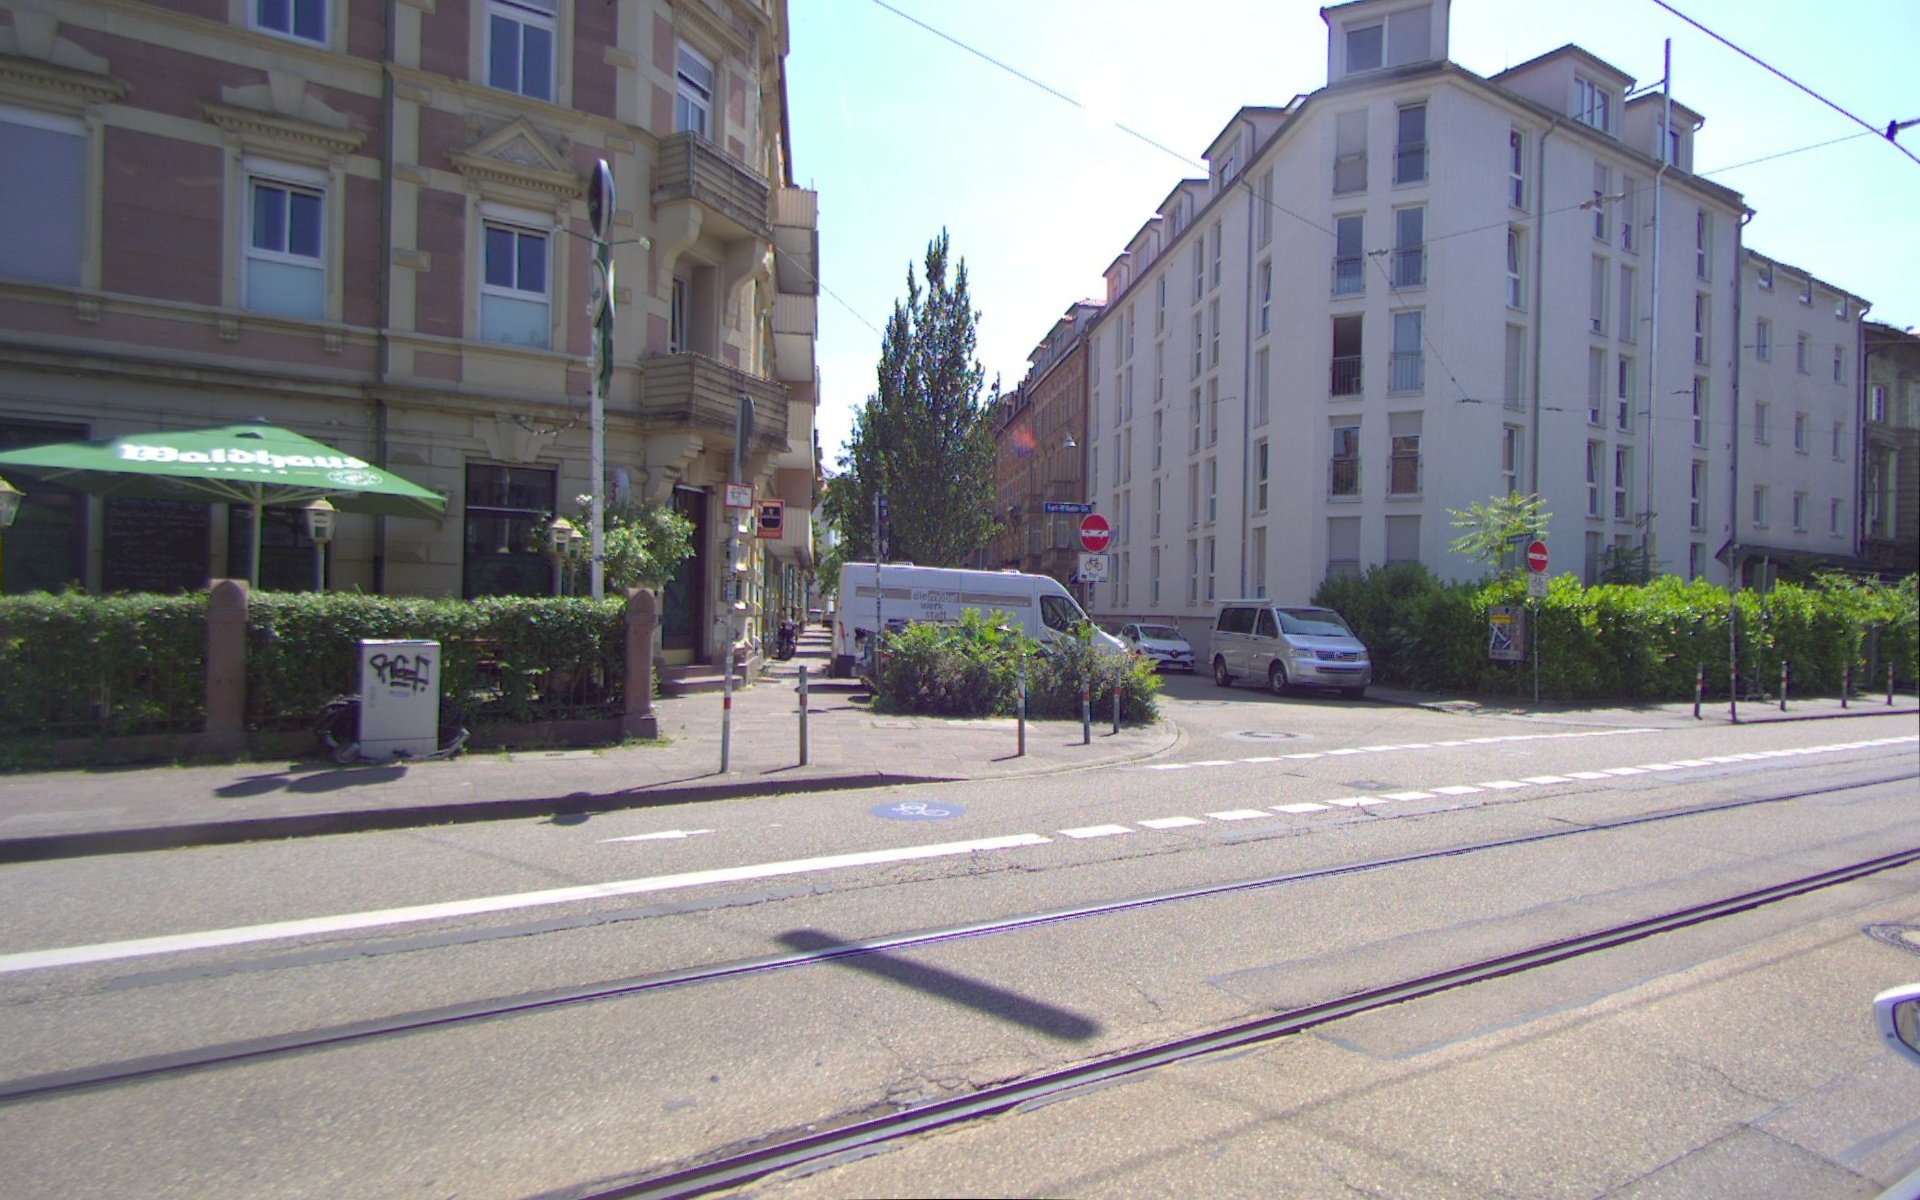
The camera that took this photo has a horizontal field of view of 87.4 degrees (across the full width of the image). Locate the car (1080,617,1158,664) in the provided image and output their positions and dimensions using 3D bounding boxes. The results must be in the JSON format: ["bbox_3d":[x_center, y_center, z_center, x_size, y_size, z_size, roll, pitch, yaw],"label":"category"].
[{"bbox_3d":[5.651,1.415,36.140,1.688,1.547,4.044,2,-1,-7],"label":"car"}]

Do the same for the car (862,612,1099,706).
[{"bbox_3d":[0.318,0.983,16.961,3.694,1.457,1.590,2,-1,-15],"label":"car"}]

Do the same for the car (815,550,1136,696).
[{"bbox_3d":[0.234,0.486,20.039,6.079,2.624,2.122,1,0,-11],"label":"car"}]

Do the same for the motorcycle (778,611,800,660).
[{"bbox_3d":[-4.985,1.021,29.334,0.603,1.376,2.081,1,-1,-9],"label":"motorcycle"}]

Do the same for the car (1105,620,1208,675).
[{"bbox_3d":[6.044,1.435,31.398,1.963,1.513,4.044,1,-1,-7],"label":"car"}]

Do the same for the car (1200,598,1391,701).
[{"bbox_3d":[7.261,1.017,22.331,2.117,2.011,4.699,1,-1,-8],"label":"car"}]

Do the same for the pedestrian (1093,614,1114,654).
[{"bbox_3d":[6.433,1.531,44.996,0.773,1.757,0.652,2,0,-7],"label":"pedestrian"}]
